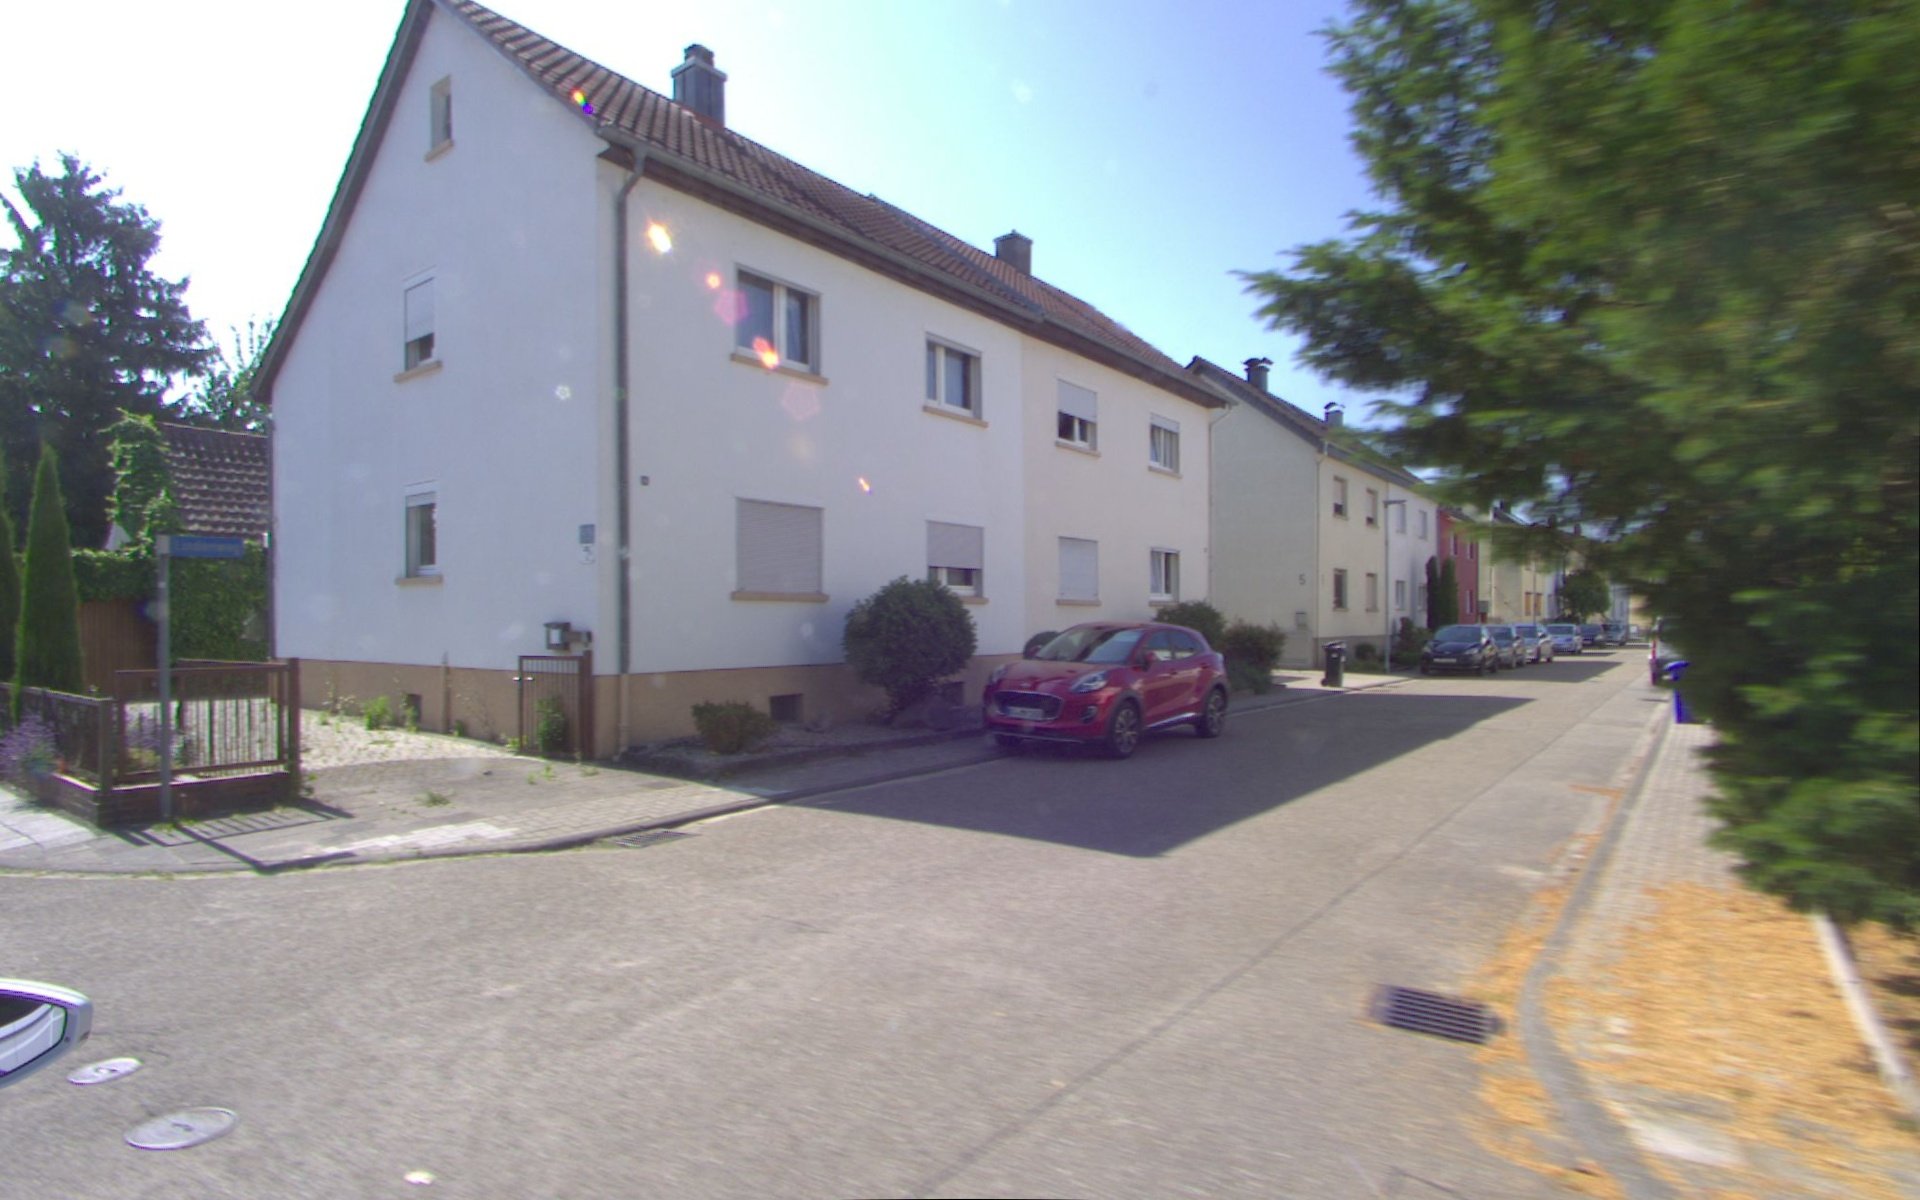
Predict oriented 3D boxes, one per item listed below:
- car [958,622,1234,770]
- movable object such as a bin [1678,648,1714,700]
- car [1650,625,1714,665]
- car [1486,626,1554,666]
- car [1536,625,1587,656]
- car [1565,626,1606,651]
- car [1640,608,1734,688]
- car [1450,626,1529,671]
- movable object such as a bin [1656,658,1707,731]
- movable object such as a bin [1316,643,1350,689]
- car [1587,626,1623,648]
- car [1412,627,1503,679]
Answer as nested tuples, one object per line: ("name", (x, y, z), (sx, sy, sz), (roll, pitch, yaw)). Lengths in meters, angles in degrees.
("car", (1.871, 1.065, 12.704), (1.774, 1.550, 3.973), (0, -1, 37))
("movable object such as a bin", (15.455, 1.541, 21.019), (0.596, 1.043, 0.592), (0, -1, 38))
("car", (26.824, 1.653, 37.161), (1.774, 1.399, 3.973), (-3, -3, 38))
("car", (21.457, 1.709, 38.317), (1.774, 1.429, 3.973), (0, -1, 37))
("car", (29.594, 1.954, 49.238), (1.774, 1.429, 3.973), (0, -1, 37))
("car", (37.650, 2.283, 60.225), (1.774, 1.429, 3.973), (0, -1, 37))
("car", (18.517, 1.208, 25.441), (1.774, 1.861, 3.973), (-3, -3, 38))
("car", (18.031, 1.588, 34.006), (1.774, 1.429, 3.973), (0, -1, 37))
("movable object such as a bin", (10.953, 1.420, 15.196), (0.596, 1.043, 0.592), (0, -1, 38))
("movable object such as a bin", (8.701, 1.529, 23.363), (0.596, 1.043, 0.559), (0, -1, 38))
("car", (43.754, 2.469, 67.917), (1.774, 1.429, 3.973), (0, -1, 37))
("car", (14.940, 1.519, 29.972), (1.774, 1.429, 3.973), (0, -1, 37))
